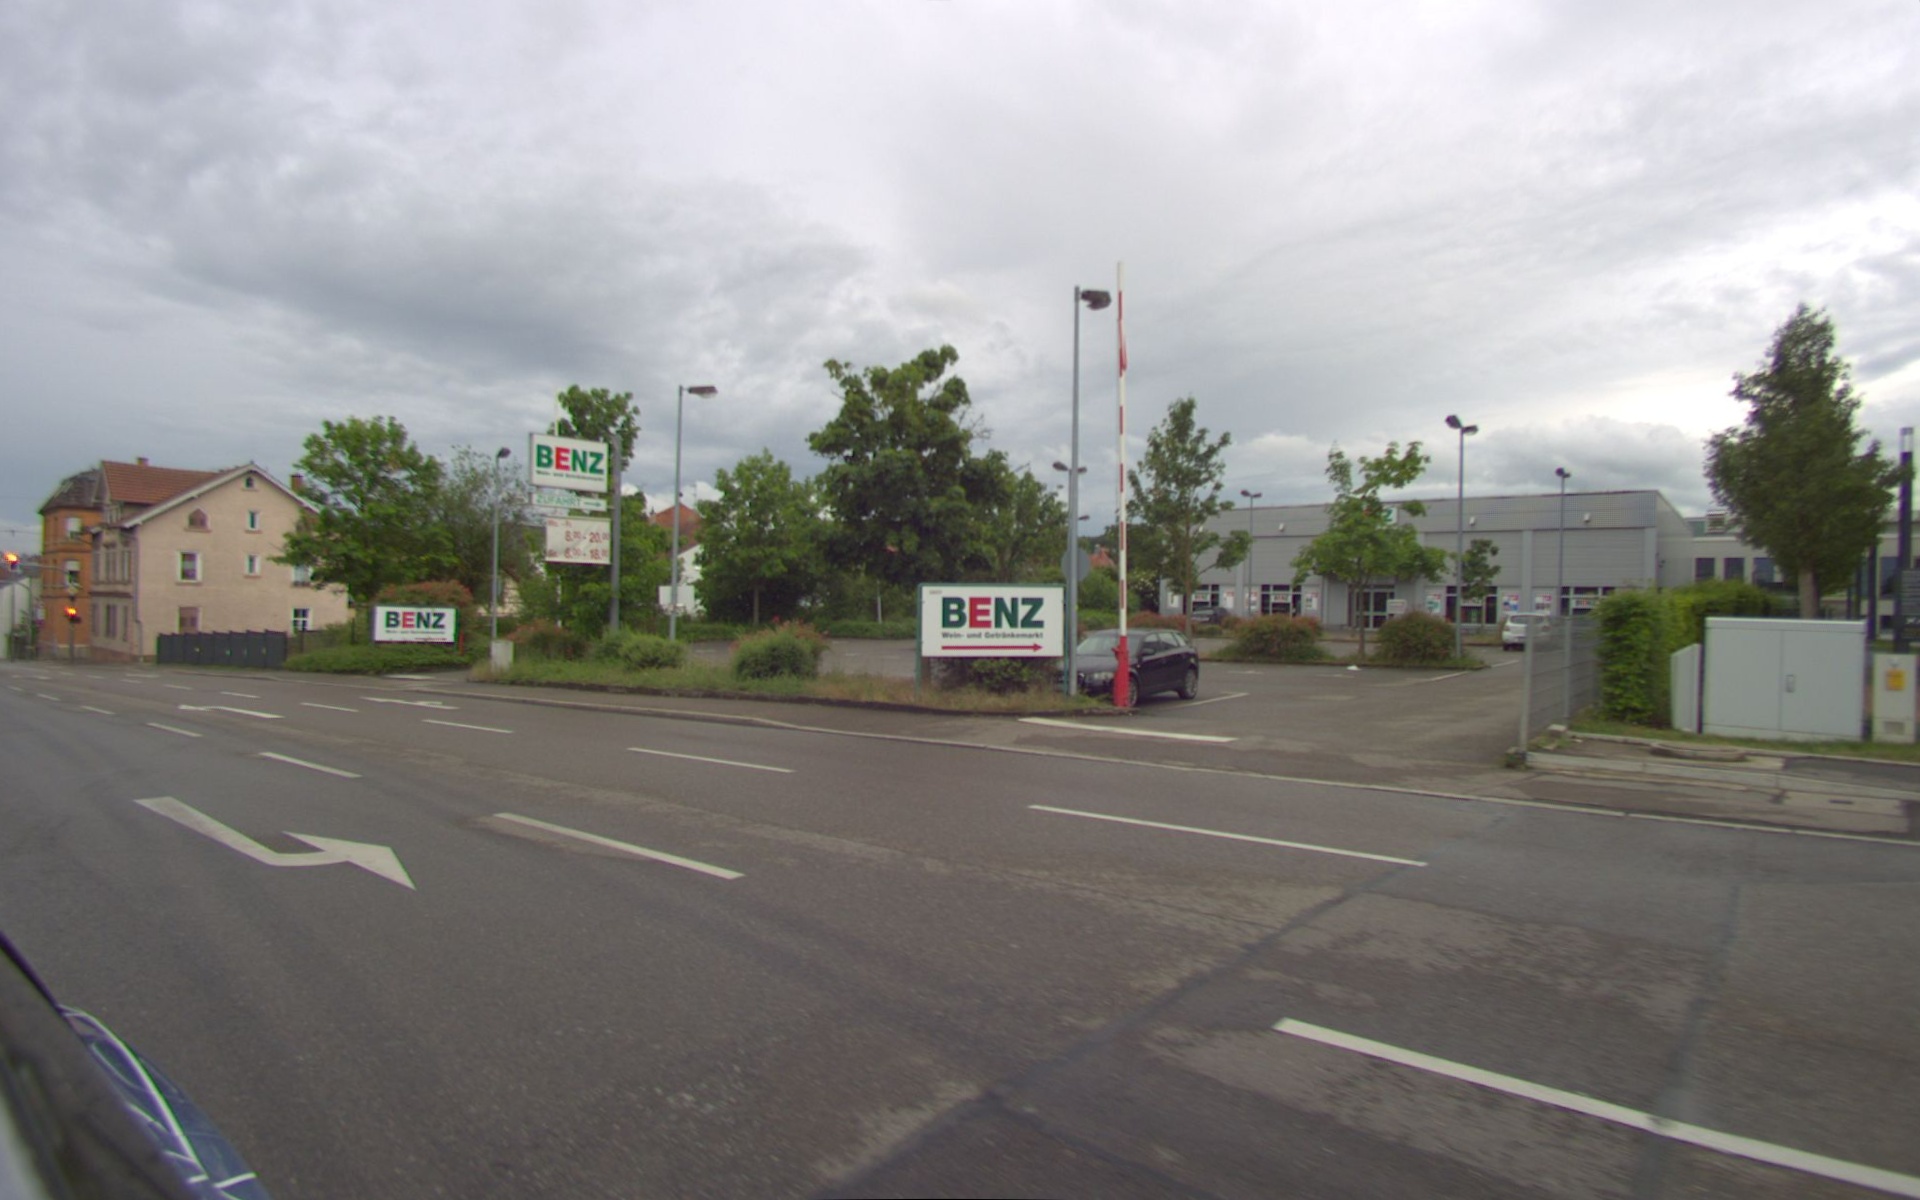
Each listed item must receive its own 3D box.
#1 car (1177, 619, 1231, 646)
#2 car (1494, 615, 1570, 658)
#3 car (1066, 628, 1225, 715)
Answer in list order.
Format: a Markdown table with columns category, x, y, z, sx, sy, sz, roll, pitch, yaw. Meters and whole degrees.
| category | x | y | z | sx | sy | sz | roll | pitch | yaw |
| --- | --- | --- | --- | --- | --- | --- | --- | --- | --- |
| car | 16.558 | 2.204 | 68.526 | 1.998 | 1.697 | 3.947 | -2 | -1 | 40 |
| car | 23.142 | 1.440 | 40.896 | 1.998 | 1.608 | 3.947 | -2 | -1 | 39 |
| car | 3.734 | 1.339 | 20.021 | 1.543 | 1.475 | 3.451 | -2 | -1 | 41 |
